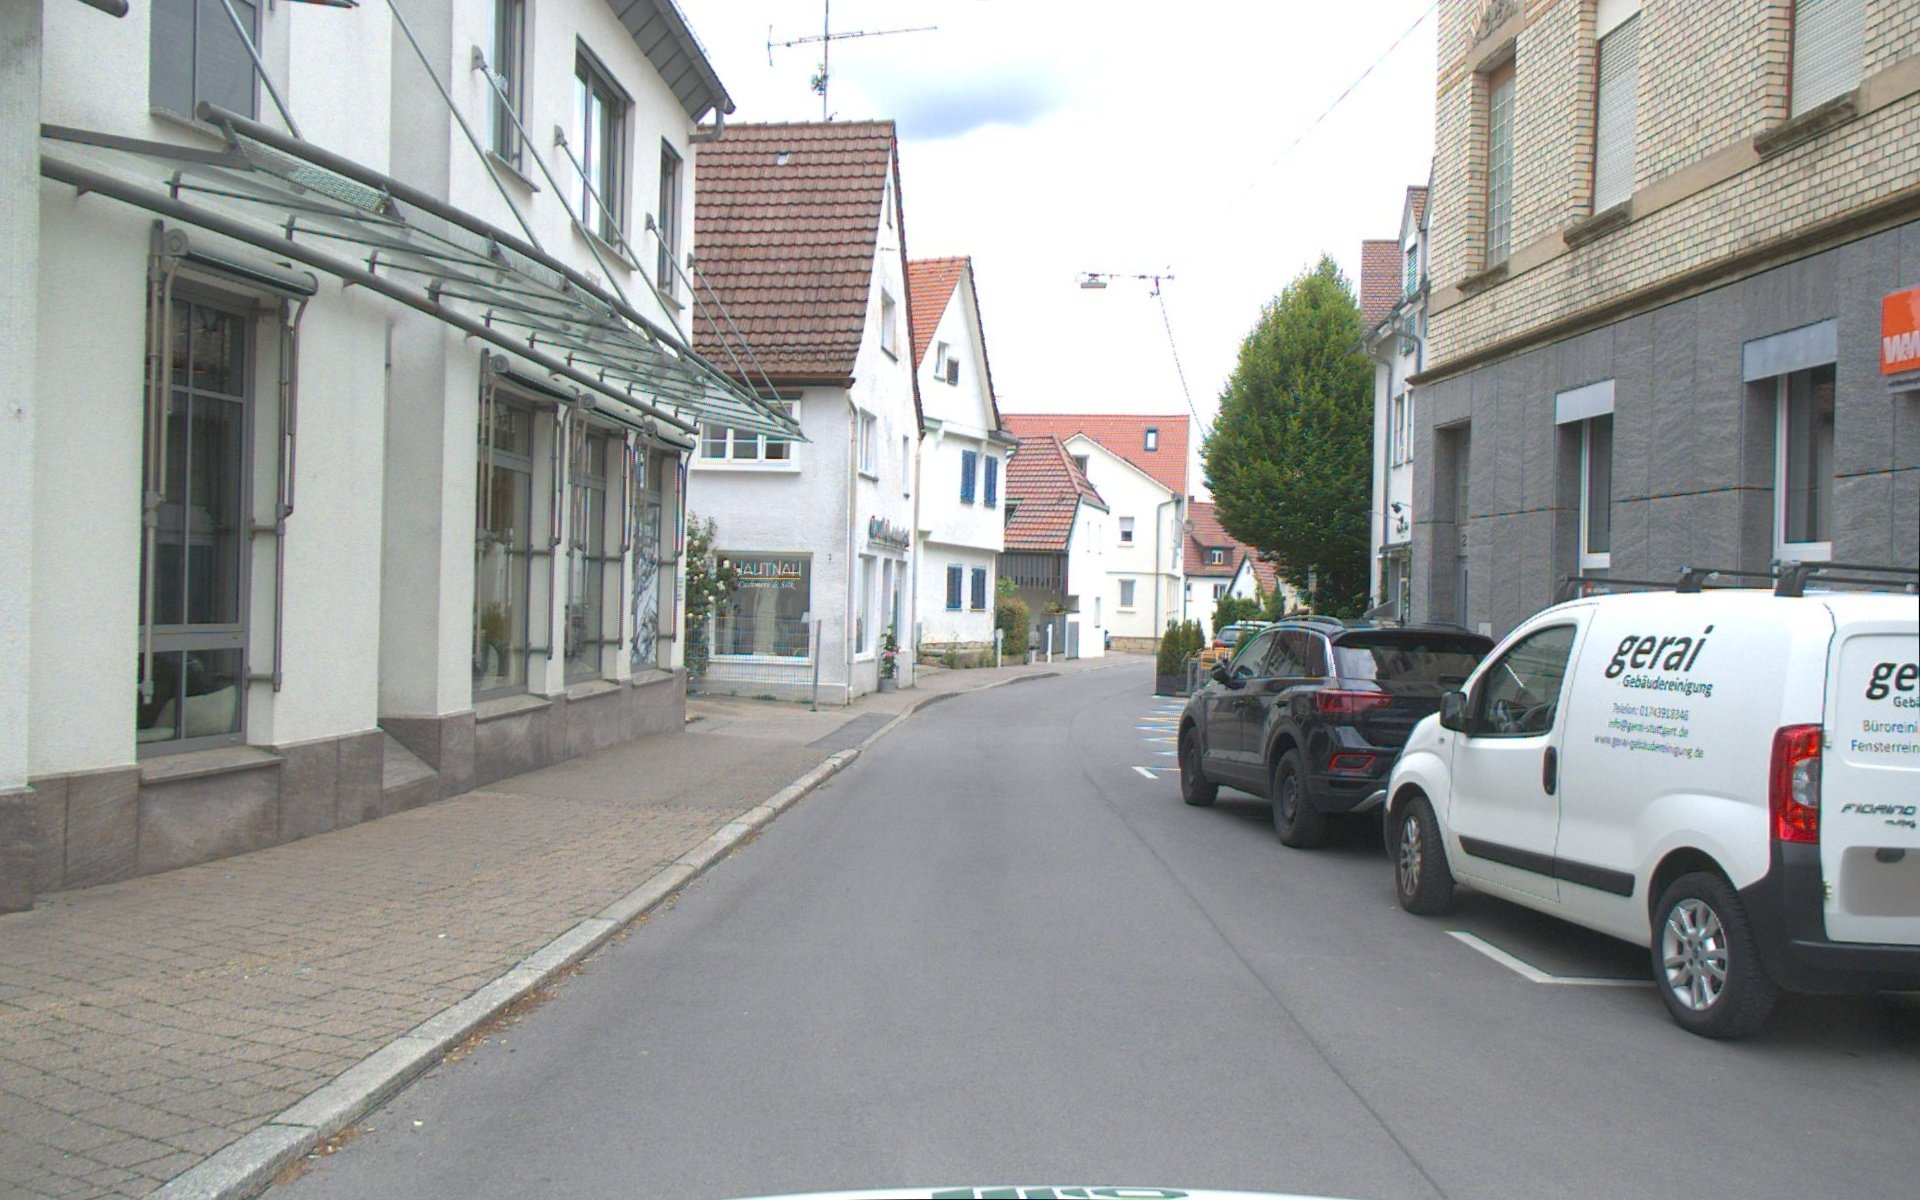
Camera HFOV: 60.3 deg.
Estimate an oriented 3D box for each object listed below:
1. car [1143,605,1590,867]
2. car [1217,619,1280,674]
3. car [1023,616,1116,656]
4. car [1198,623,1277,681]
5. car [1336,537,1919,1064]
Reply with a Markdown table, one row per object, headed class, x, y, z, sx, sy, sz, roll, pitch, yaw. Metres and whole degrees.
| class | x | y | z | sx | sy | sz | roll | pitch | yaw |
| --- | --- | --- | --- | --- | --- | --- | --- | --- | --- |
| car | 2.865 | 0.890 | 12.812 | 1.754 | 1.628 | 4.533 | 2 | -1 | -8 |
| car | 9.523 | 1.516 | 54.415 | 1.823 | 1.662 | 4.905 | 2 | -1 | 12 |
| car | 4.909 | 1.630 | 73.932 | 3.653 | 1.436 | 2.121 | 4 | -2 | 17 |
| car | 8.184 | 1.494 | 48.419 | 1.907 | 1.534 | 4.823 | 2 | -1 | 13 |
| car | 3.502 | 0.717 | 7.969 | 1.792 | 1.823 | 4.209 | 2 | 0 | -10 |
